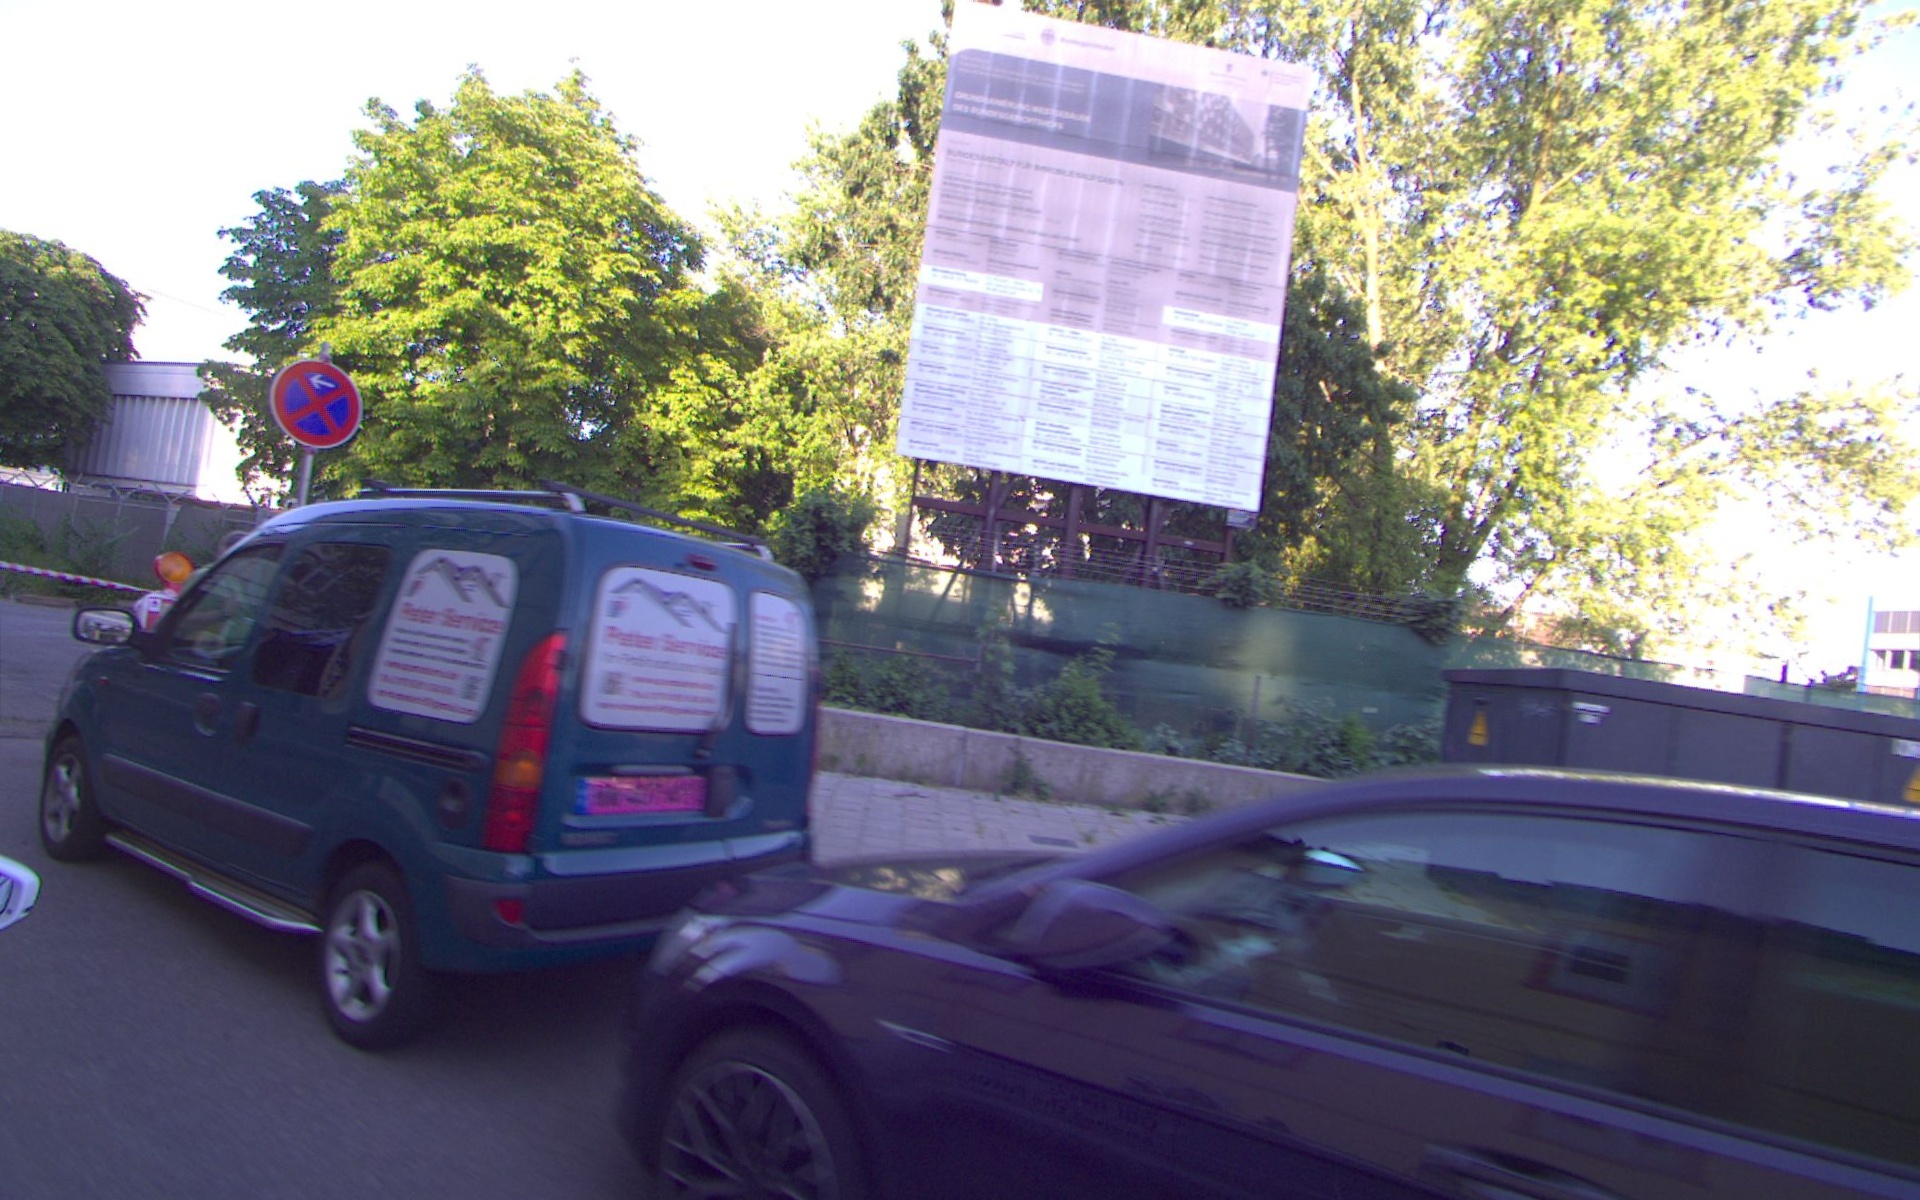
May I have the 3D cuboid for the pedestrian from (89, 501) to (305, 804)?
[{"bbox_3d":[-4.531,0.302,5.982,0.805,1.647,0.614,6,-2,34],"label":"pedestrian"}]

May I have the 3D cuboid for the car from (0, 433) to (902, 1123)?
[{"bbox_3d":[-2.464,0.397,4.512,3.956,1.869,1.716,6,-3,33],"label":"car"}]

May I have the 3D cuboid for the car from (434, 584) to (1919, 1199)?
[{"bbox_3d":[0.858,0.972,2.249,4.032,1.475,1.696,6,-3,33],"label":"car"}]
